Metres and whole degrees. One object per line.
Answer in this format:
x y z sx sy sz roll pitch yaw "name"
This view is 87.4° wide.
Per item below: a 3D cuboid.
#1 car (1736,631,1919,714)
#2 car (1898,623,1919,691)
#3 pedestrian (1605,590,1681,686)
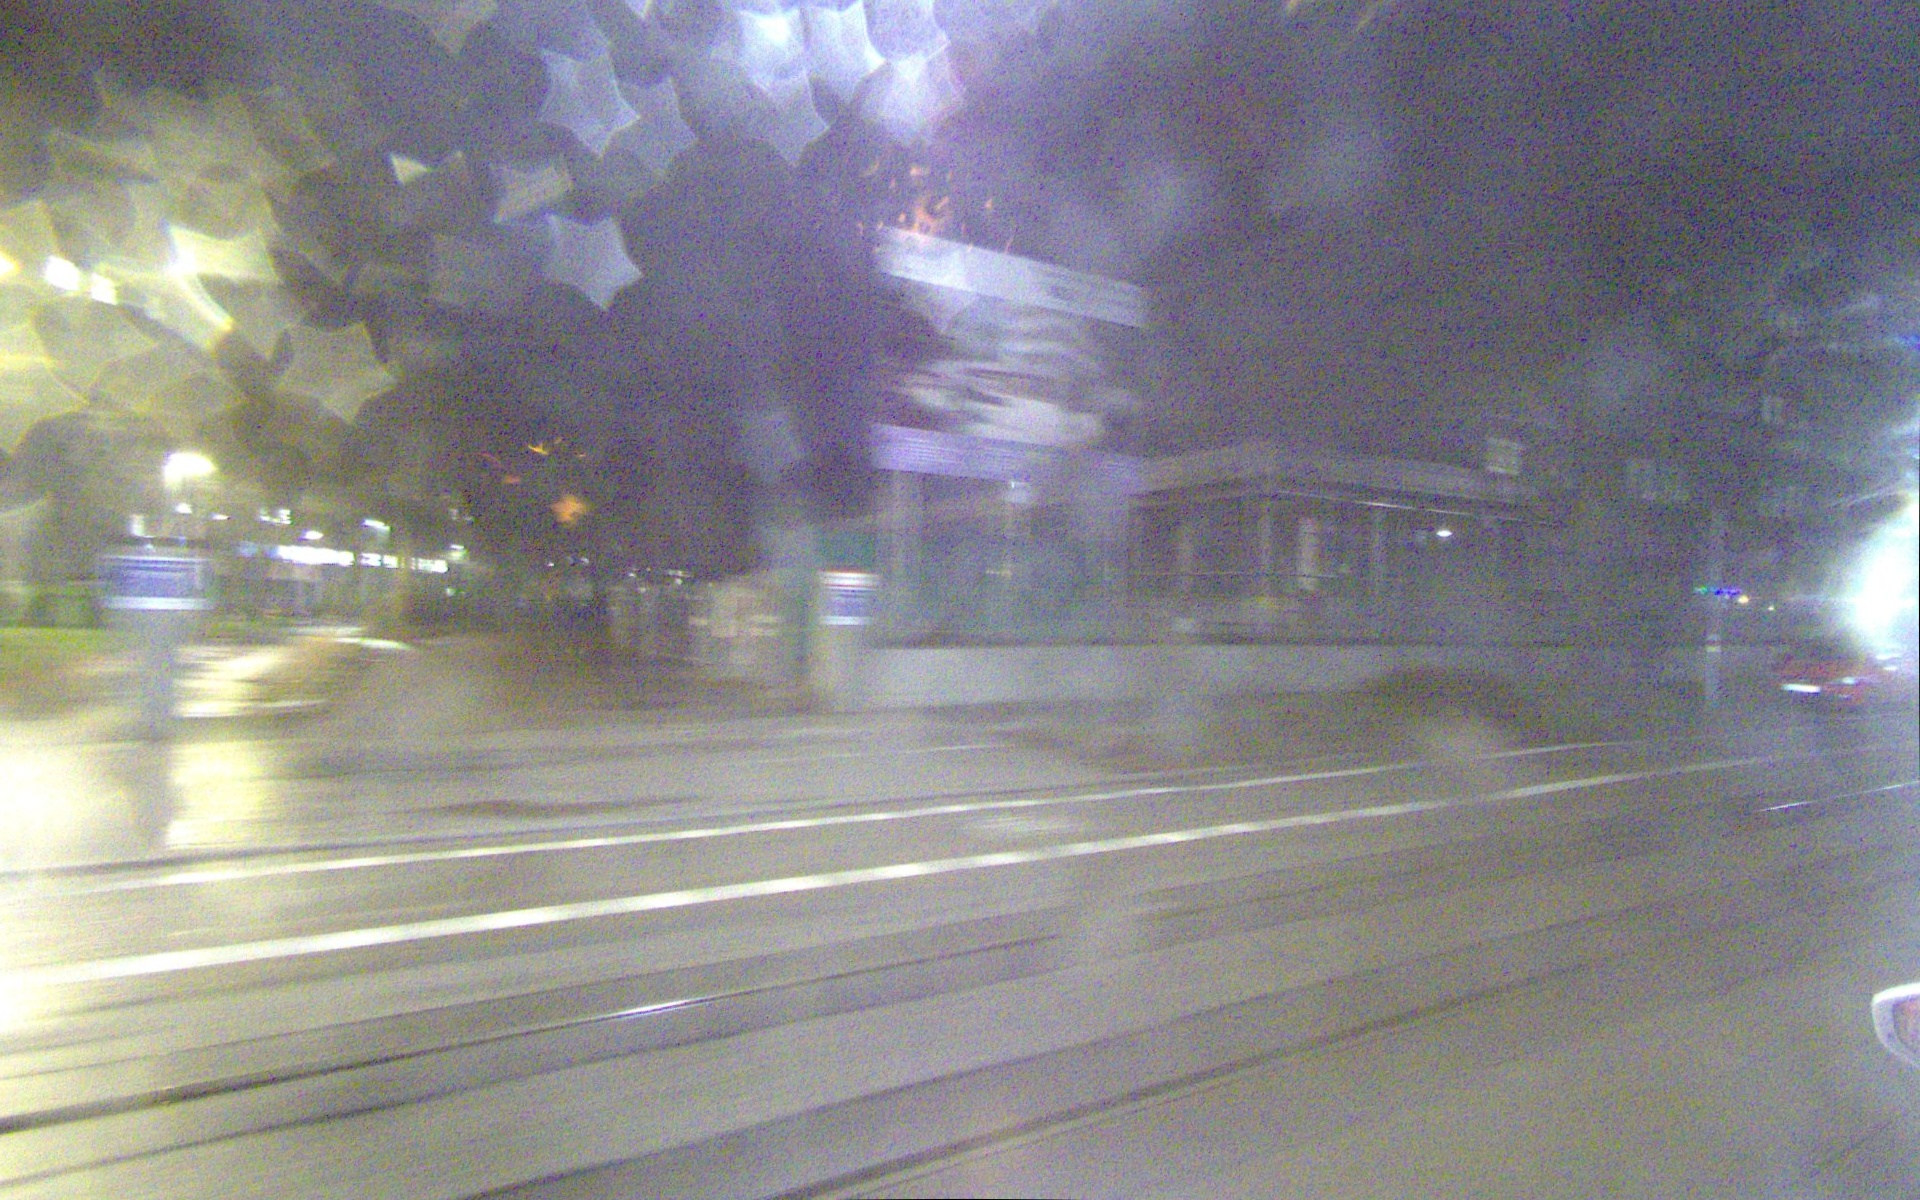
17.592 1.413 20.284 3.905 1.475 1.710 2 0 -31 "car"
25.397 1.467 24.965 4.301 1.600 1.801 1 3 -30 "car"
14.209 0.785 20.895 1.275 1.927 0.789 2 0 -30 "pedestrian"
